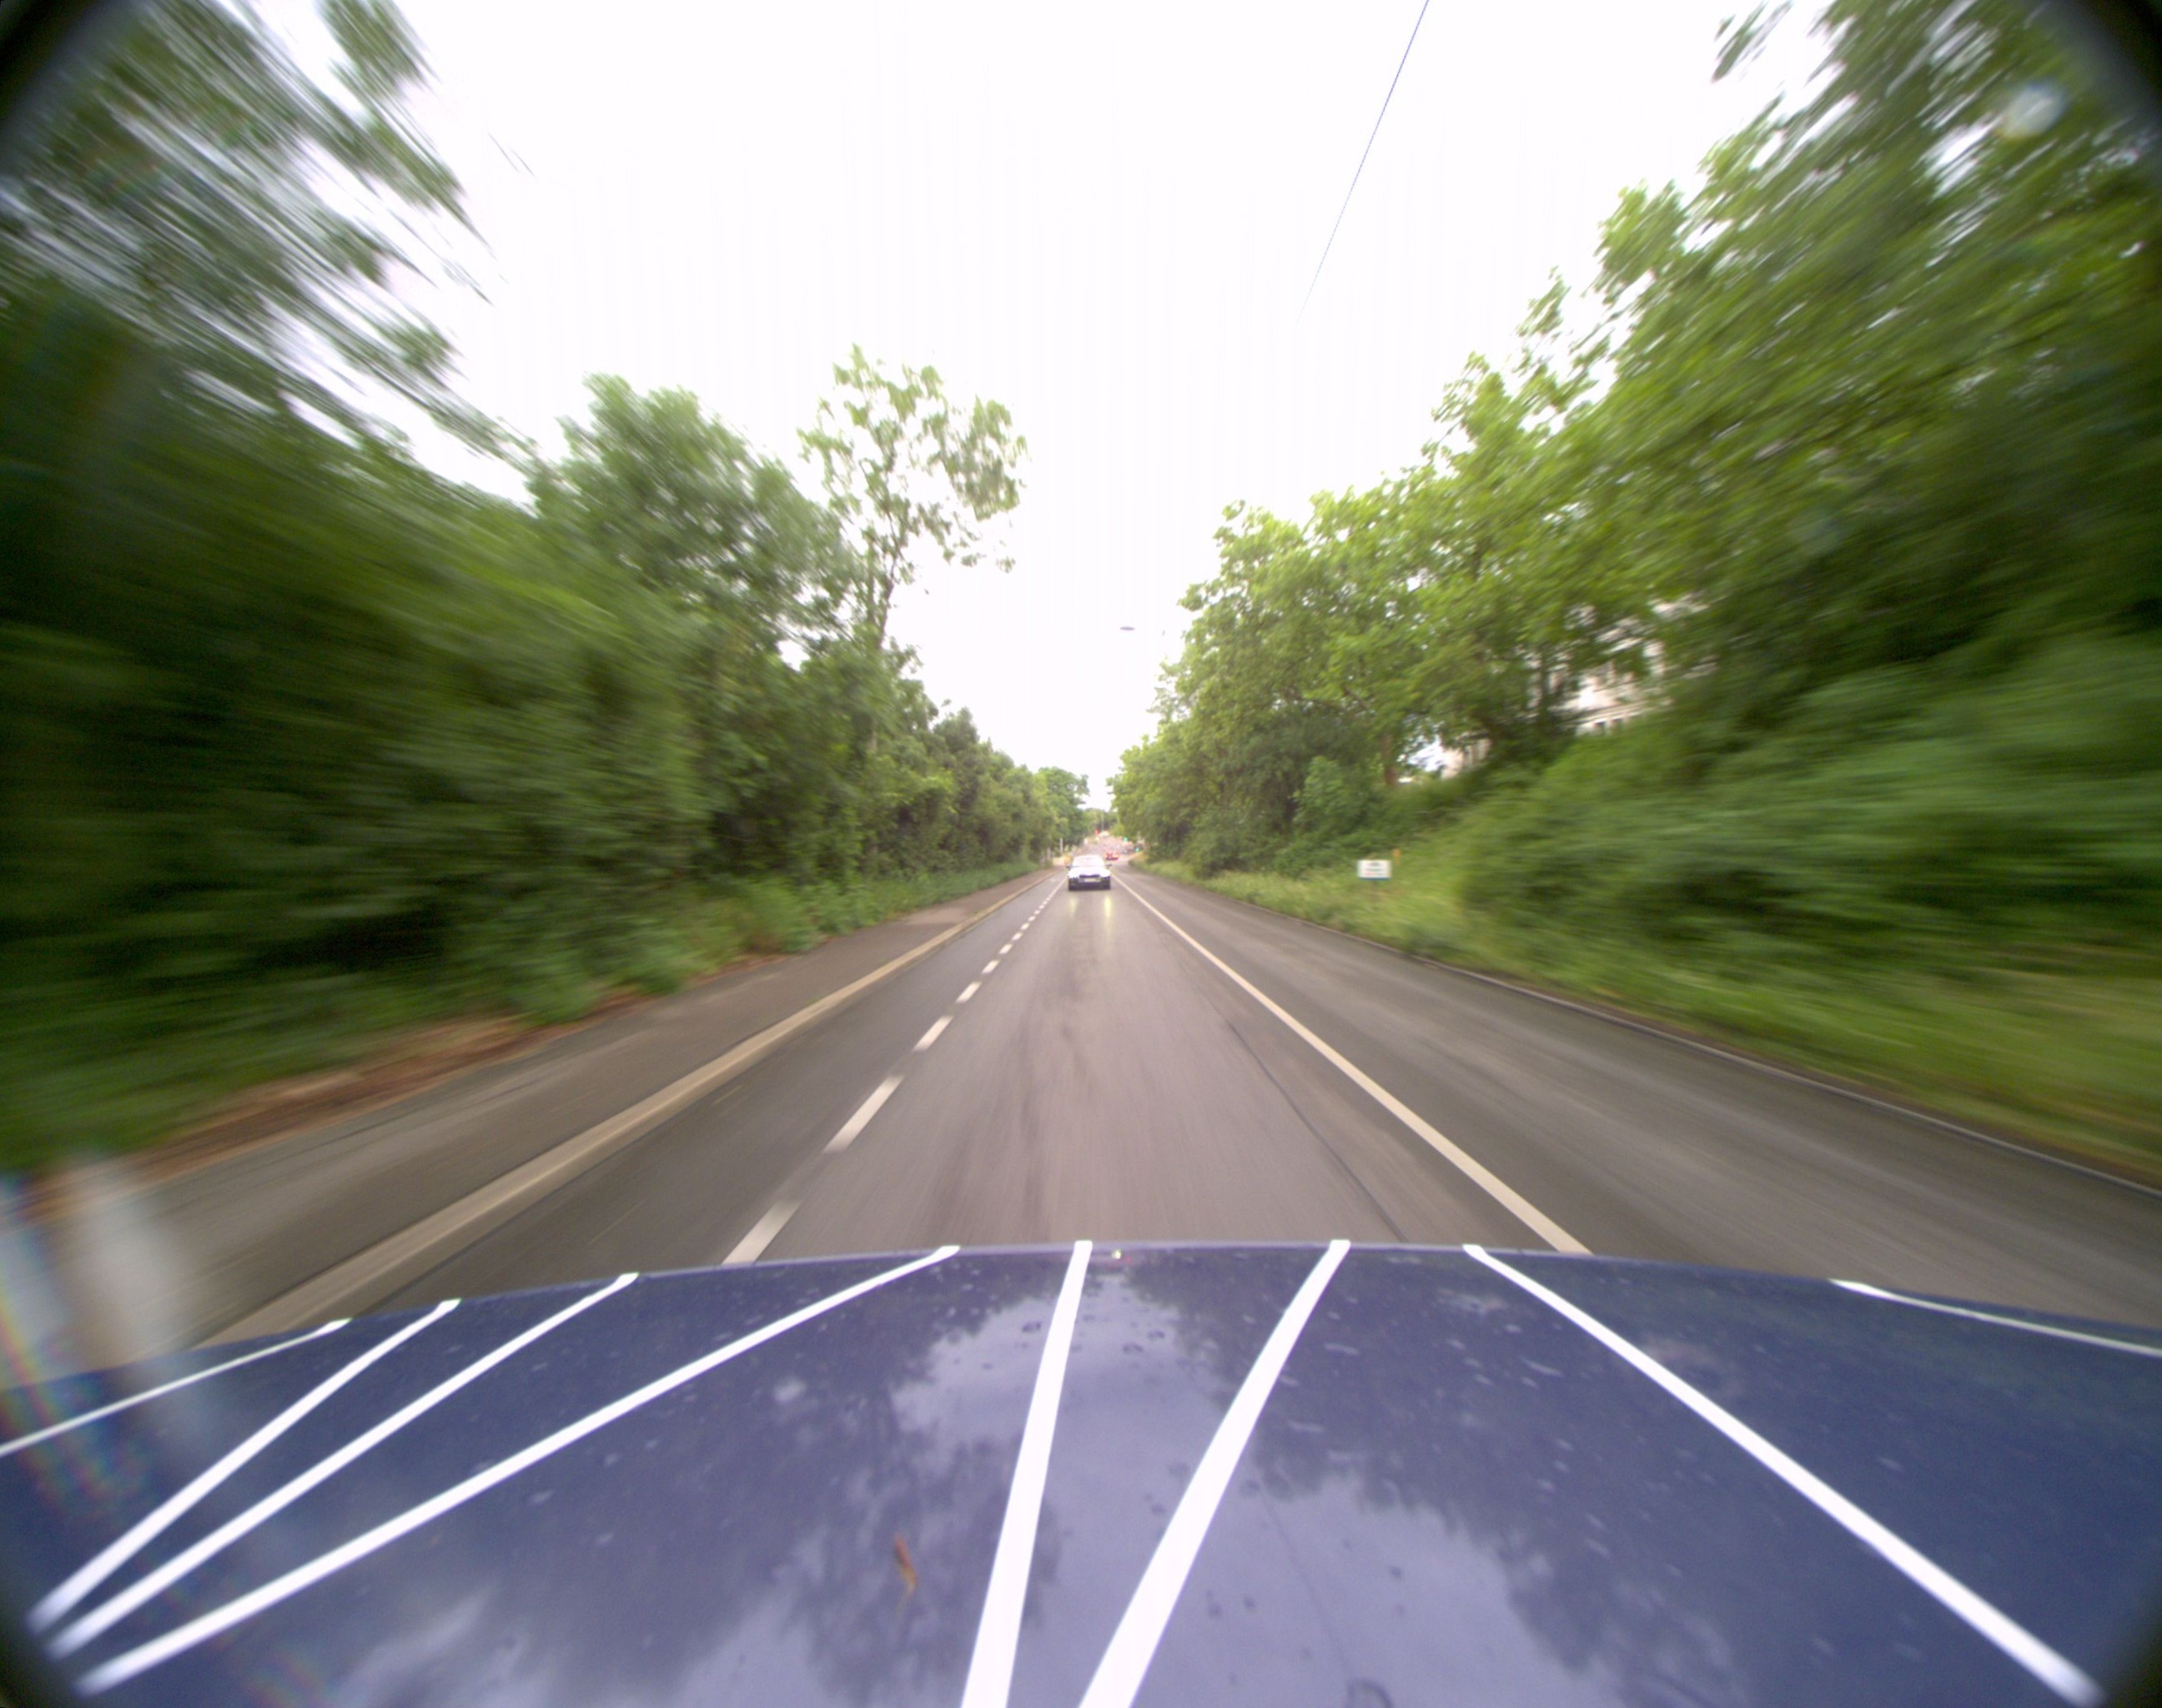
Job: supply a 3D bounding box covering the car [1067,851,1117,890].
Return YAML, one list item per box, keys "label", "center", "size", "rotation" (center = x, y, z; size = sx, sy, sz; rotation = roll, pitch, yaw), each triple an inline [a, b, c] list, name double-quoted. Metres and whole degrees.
- label: "car"
  center: [0.442, 0.663, 32.777]
  size: [1.981, 1.497, 3.999]
  rotation: [-2, 1, 0]

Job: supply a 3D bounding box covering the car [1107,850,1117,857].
- label: "car"
  center: [7.211, -0.011, 176.301]
  size: [1.981, 1.497, 3.999]
  rotation: [-2, 1, 0]
